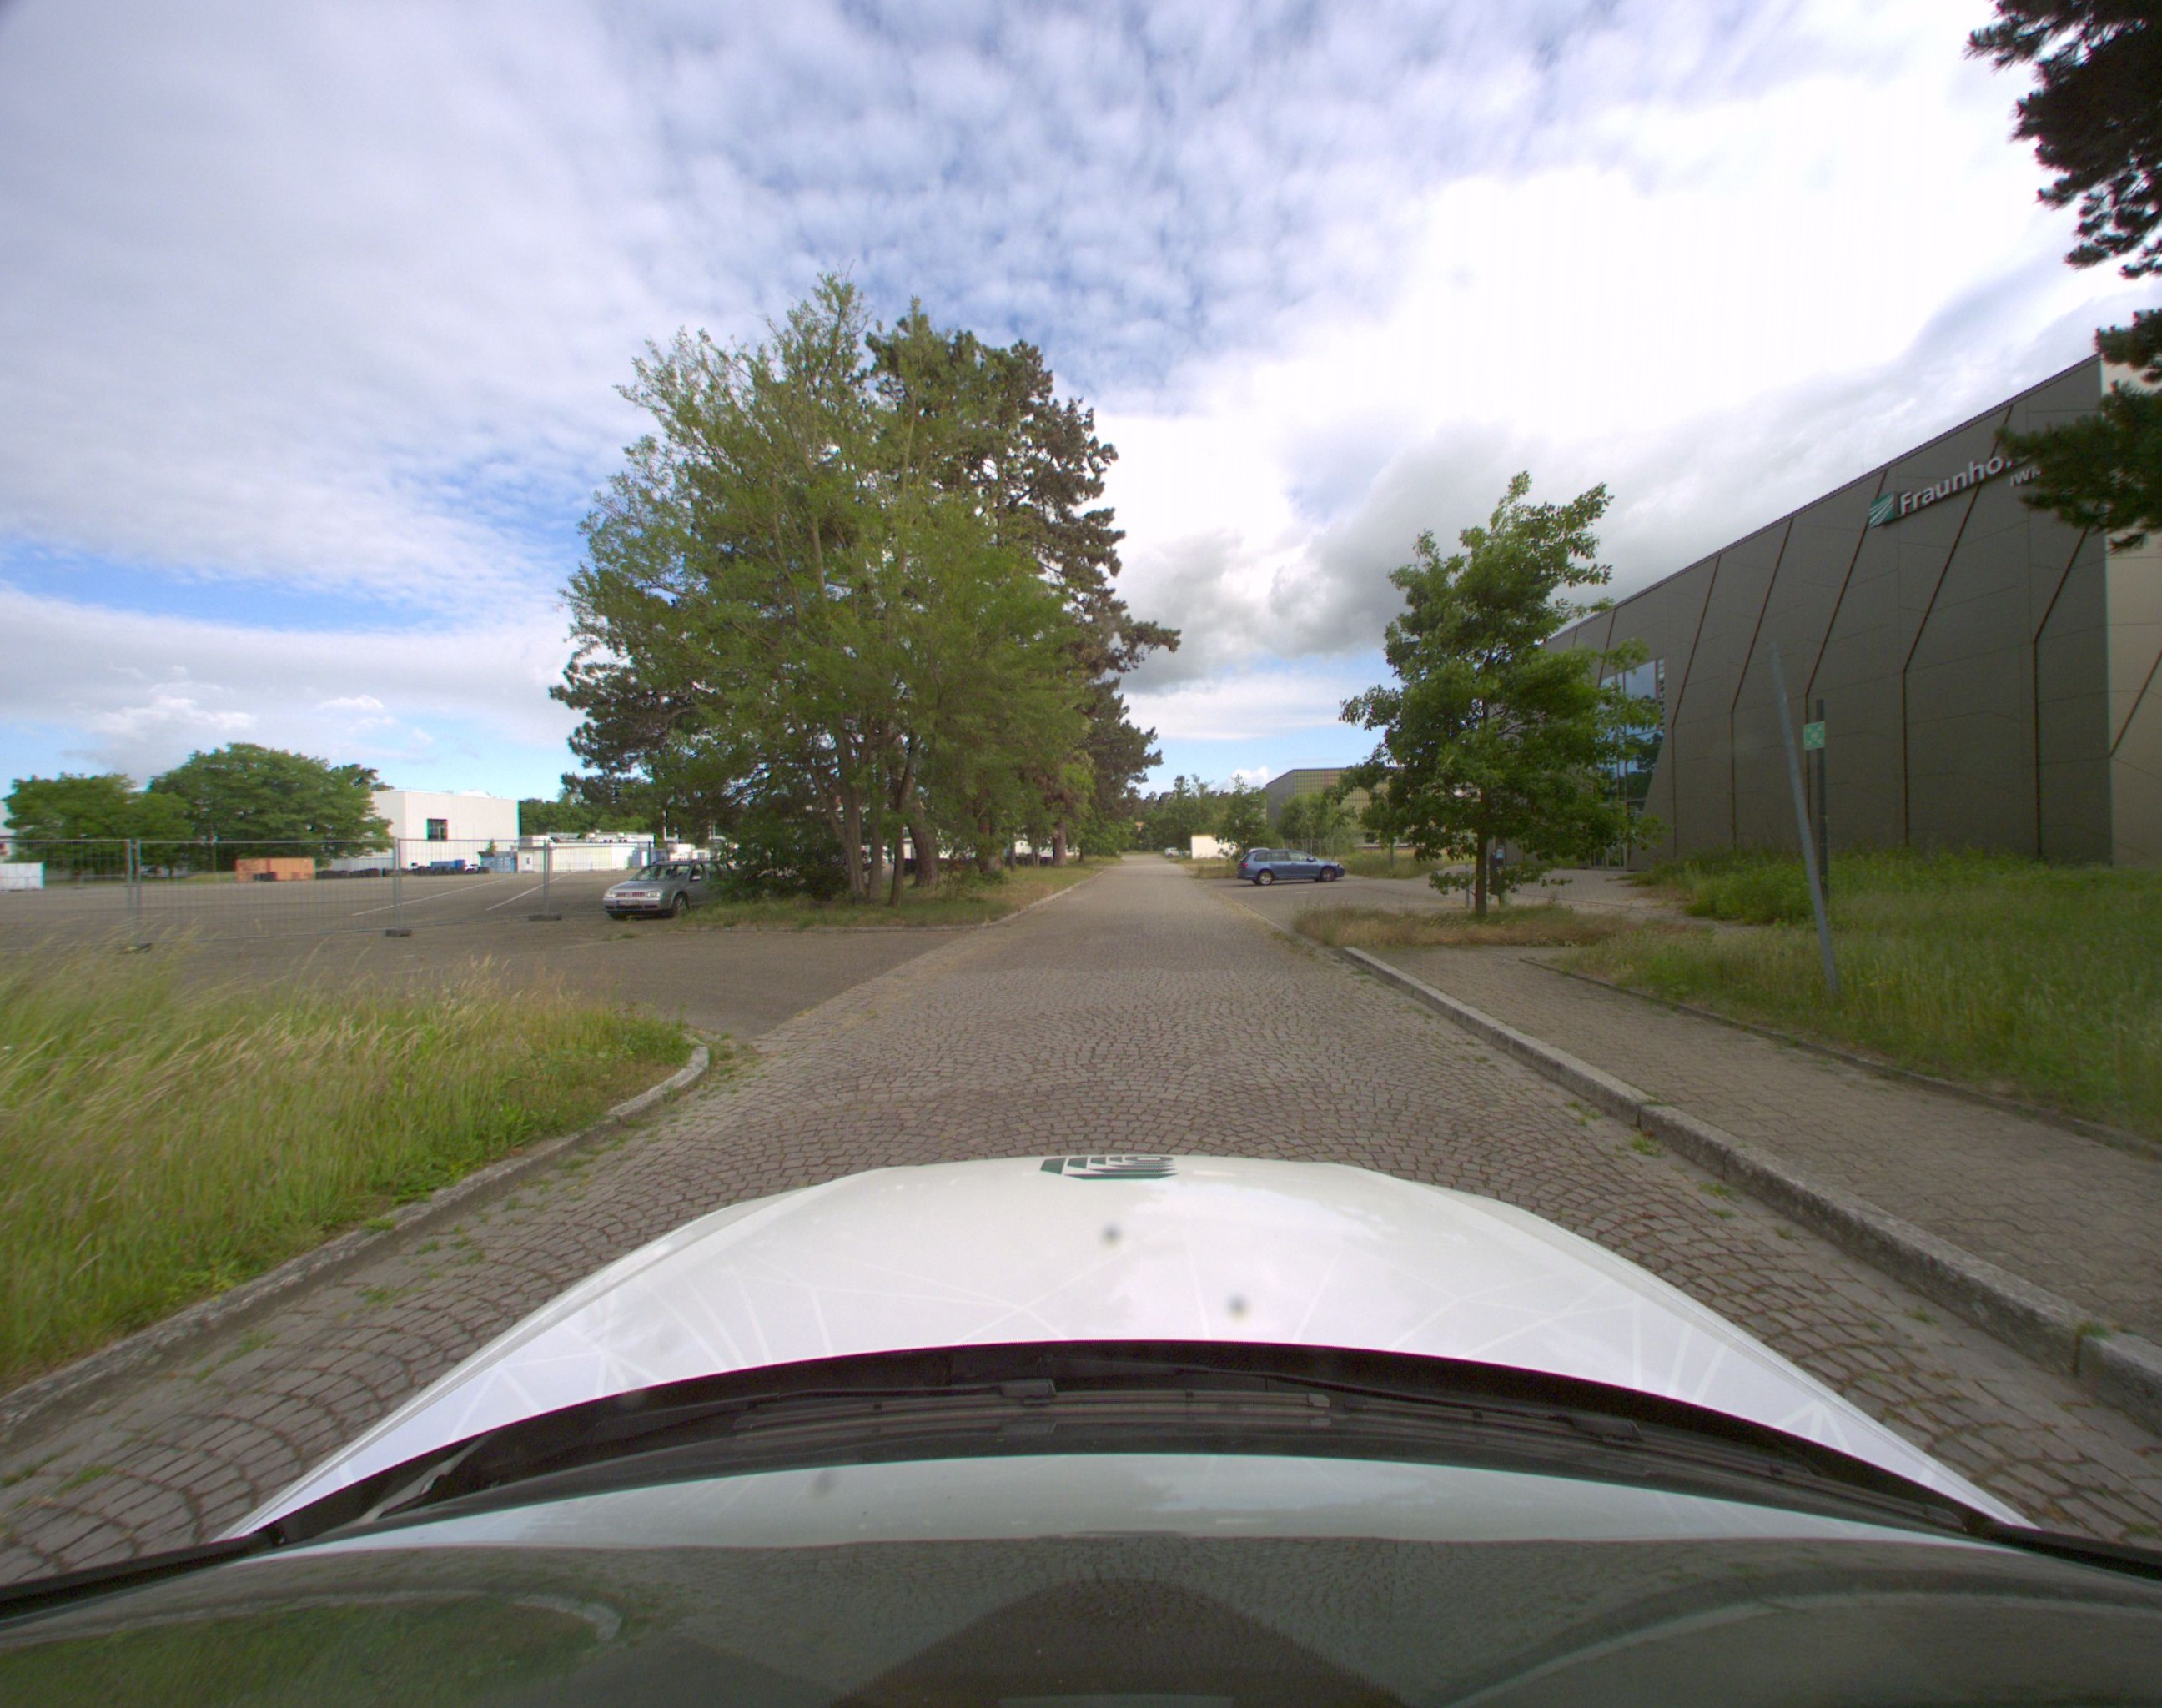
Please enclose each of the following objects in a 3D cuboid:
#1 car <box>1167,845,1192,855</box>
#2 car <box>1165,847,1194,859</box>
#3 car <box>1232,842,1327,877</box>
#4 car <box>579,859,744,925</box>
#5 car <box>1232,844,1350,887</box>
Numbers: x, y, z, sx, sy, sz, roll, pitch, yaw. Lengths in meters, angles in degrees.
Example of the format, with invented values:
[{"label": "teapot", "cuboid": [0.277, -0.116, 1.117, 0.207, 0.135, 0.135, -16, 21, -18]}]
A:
[{"label": "car", "cuboid": [18.044, -0.718, 149.212, 4.333, 1.780, 1.928, -1, 0, 5]}, {"label": "car", "cuboid": [15.466, -0.166, 128.320, 4.336, 1.687, 1.927, -1, 0, 3]}, {"label": "car", "cuboid": [10.214, 0.273, 42.162, 4.496, 1.531, 2.003, -3, 0, 5]}, {"label": "car", "cuboid": [-10.778, 0.907, 21.373, 1.911, 1.476, 4.371, -1, 0, 2]}, {"label": "car", "cuboid": [8.885, 0.471, 34.803, 4.502, 1.531, 2.001, -3, 0, 1]}]
